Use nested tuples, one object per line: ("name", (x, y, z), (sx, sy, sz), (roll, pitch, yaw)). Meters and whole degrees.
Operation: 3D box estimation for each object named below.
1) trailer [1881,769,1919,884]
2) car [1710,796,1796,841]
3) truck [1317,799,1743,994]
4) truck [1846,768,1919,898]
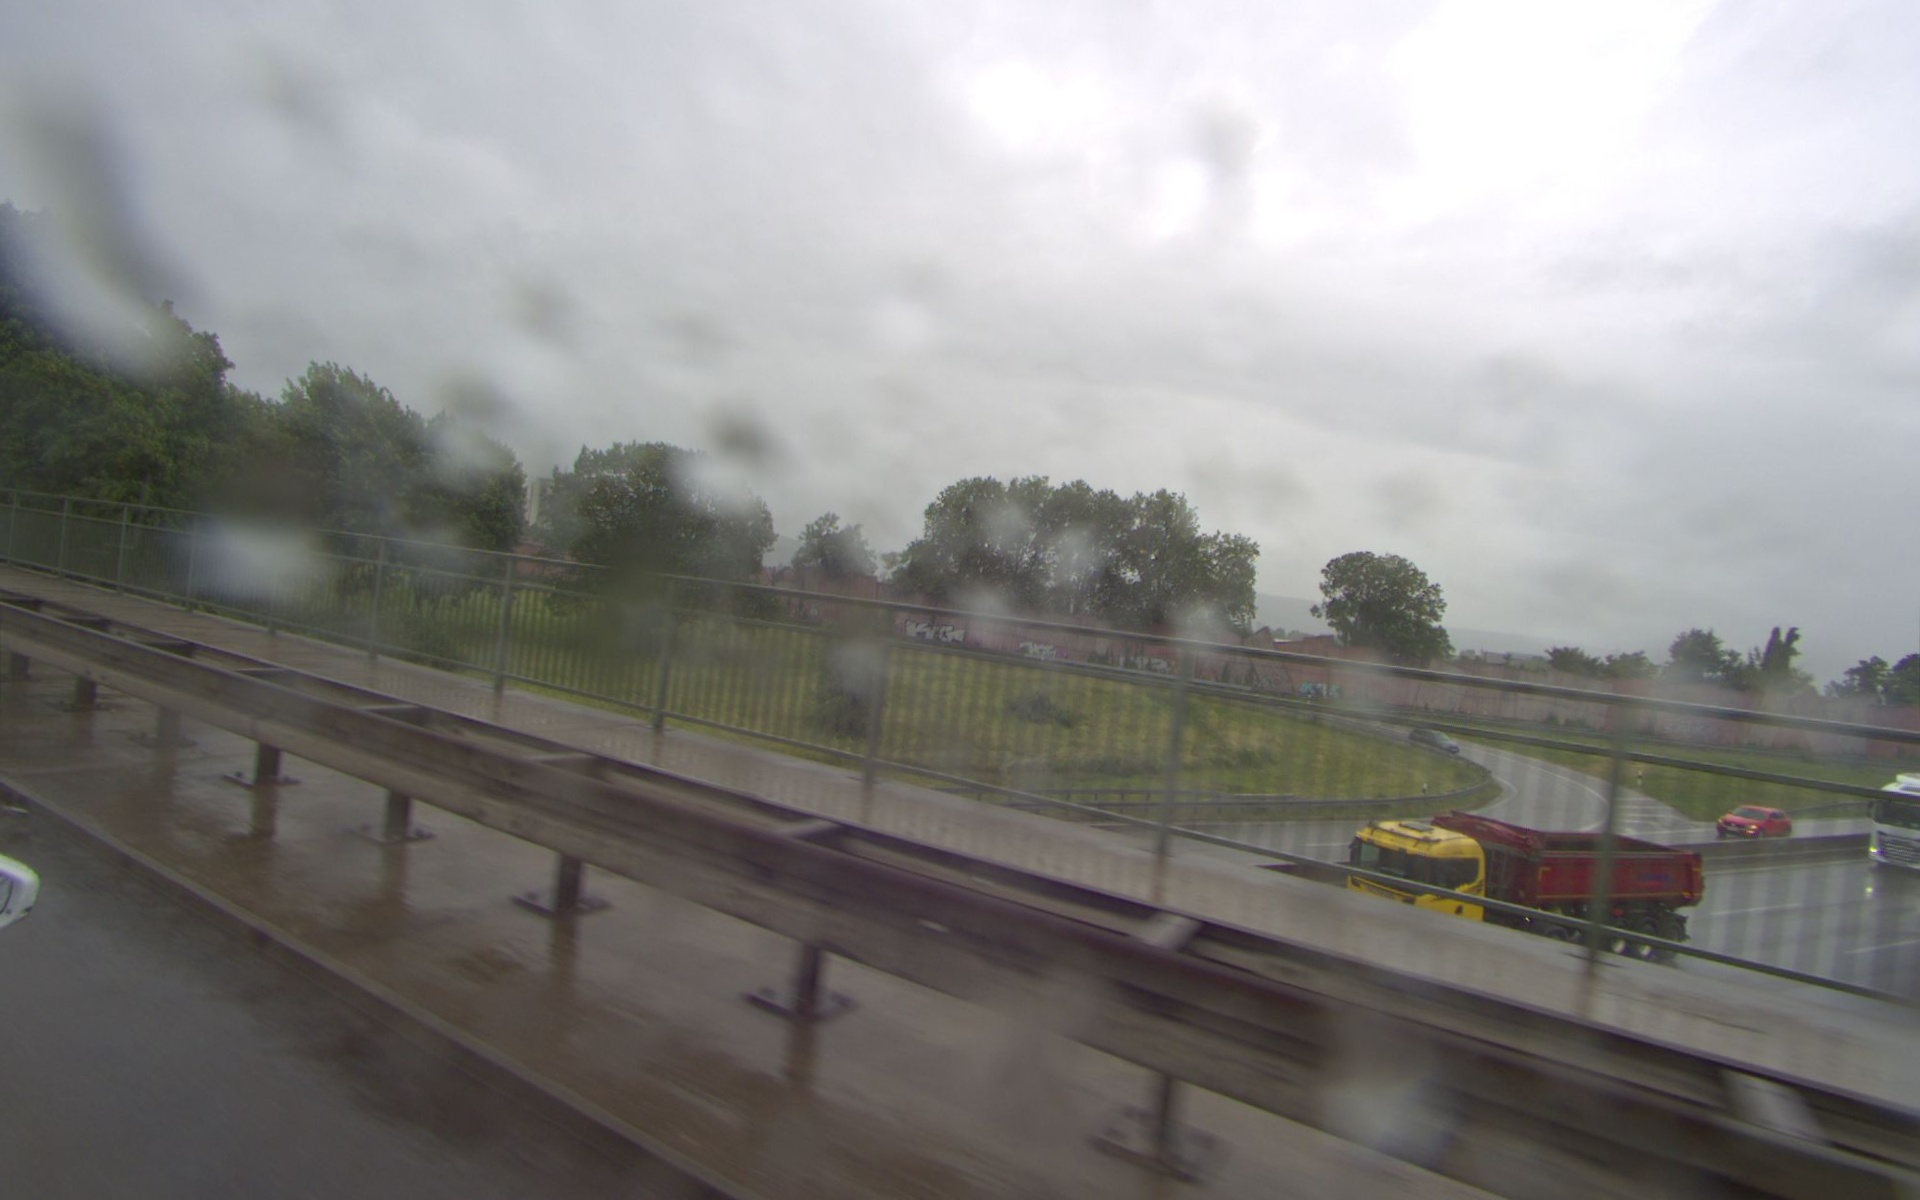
("trailer", (50.027, 11.011, 48.528), (13.665, 5.009, 3.125), (5, -1, -25))
("car", (39.450, 10.853, 50.040), (3.956, 1.601, 1.796), (11, -4, -26))
("truck", (15.300, 7.650, 26.554), (12.227, 3.794, 3.125), (8, -2, -25))
("truck", (43.625, 10.475, 45.439), (5.729, 5.177, 3.125), (5, -1, -25))
